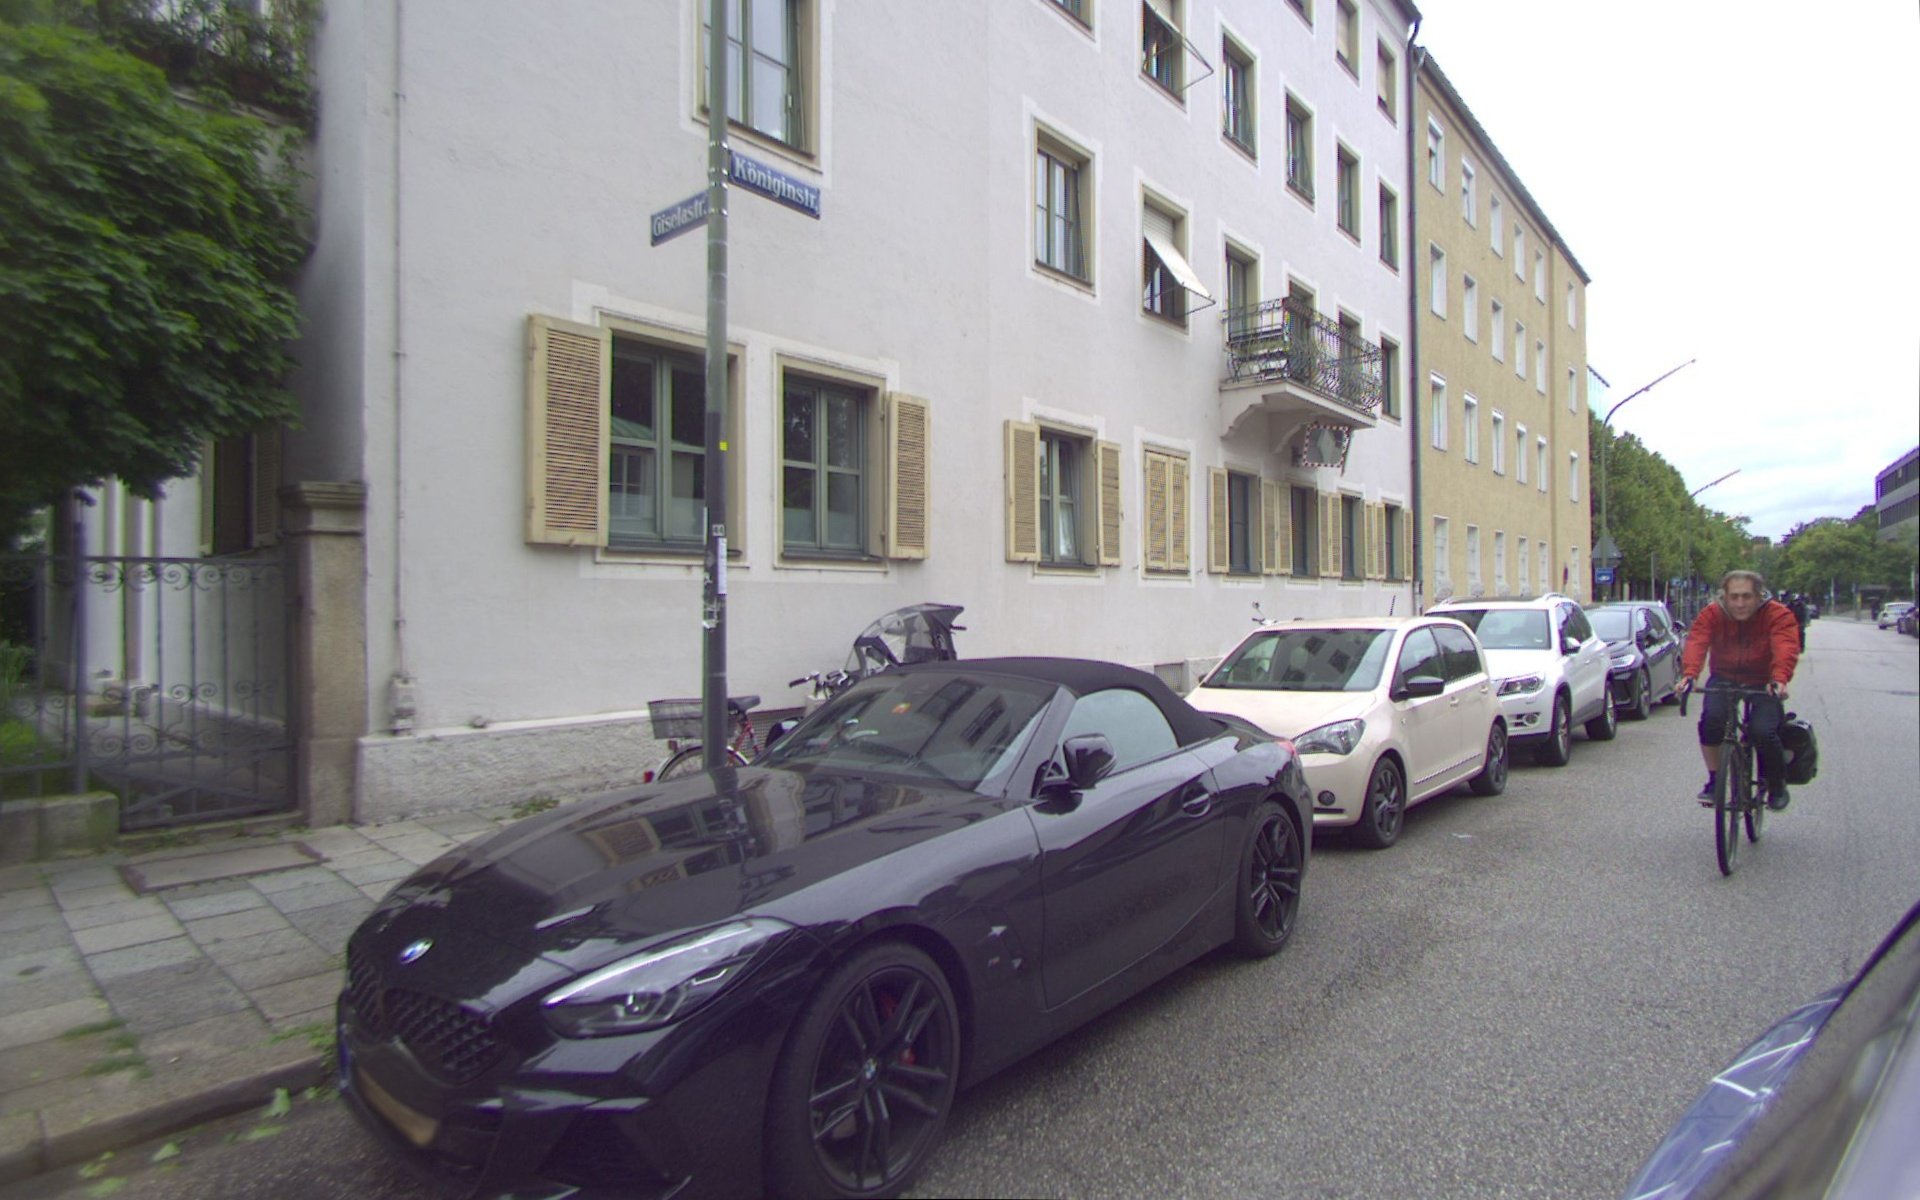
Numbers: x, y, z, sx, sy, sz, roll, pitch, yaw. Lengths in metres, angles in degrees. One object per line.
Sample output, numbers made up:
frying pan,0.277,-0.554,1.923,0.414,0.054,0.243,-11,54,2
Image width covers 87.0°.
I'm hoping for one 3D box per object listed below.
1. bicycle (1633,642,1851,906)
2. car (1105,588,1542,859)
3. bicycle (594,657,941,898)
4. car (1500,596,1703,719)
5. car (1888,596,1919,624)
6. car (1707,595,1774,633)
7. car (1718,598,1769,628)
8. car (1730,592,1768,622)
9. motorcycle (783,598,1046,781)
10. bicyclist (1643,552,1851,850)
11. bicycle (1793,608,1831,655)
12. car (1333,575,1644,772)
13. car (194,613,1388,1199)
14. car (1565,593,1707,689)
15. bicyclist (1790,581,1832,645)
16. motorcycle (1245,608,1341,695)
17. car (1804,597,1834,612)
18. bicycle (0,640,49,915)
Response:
bicycle,4.452,0.859,5.701,1.978,1.156,0.672,-1,-2,-45
car,2.955,0.782,7.827,1.769,1.566,3.653,-7,-5,43
bicycle,-1.045,0.919,5.844,1.905,1.077,0.664,0,0,-41
car,9.603,0.721,14.993,1.837,1.551,4.348,0,0,42
car,53.334,0.527,56.697,1.722,1.511,4.397,-3,-2,40
car,36.147,0.619,46.820,1.992,1.652,5.022,-3,-2,42
car,41.960,0.663,54.220,1.989,1.479,4.889,-3,-2,38
car,52.621,0.460,67.448,1.781,1.920,4.508,-3,-2,40
motorcycle,-0.326,0.710,9.319,0.855,1.452,2.668,-1,-1,39
bicyclist,4.466,0.516,5.733,0.965,1.502,0.755,0,-2,-44
bicycle,22.996,0.854,27.313,0.717,1.222,1.774,-3,-3,41
car,6.004,0.683,11.207,1.991,1.729,4.466,-4,-2,41
car,-0.066,0.786,4.080,1.998,1.335,4.527,2,2,41
car,12.924,0.668,19.211,1.857,1.597,4.831,0,0,38
bicyclist,22.989,0.366,27.332,0.777,1.689,1.019,-3,-3,42
motorcycle,5.267,0.781,15.935,0.731,1.255,1.978,-3,-2,40
car,85.881,0.465,101.220,1.918,1.416,4.429,-1,0,36
bicycle,-5.040,0.835,4.234,0.540,1.241,1.754,-1,0,36
